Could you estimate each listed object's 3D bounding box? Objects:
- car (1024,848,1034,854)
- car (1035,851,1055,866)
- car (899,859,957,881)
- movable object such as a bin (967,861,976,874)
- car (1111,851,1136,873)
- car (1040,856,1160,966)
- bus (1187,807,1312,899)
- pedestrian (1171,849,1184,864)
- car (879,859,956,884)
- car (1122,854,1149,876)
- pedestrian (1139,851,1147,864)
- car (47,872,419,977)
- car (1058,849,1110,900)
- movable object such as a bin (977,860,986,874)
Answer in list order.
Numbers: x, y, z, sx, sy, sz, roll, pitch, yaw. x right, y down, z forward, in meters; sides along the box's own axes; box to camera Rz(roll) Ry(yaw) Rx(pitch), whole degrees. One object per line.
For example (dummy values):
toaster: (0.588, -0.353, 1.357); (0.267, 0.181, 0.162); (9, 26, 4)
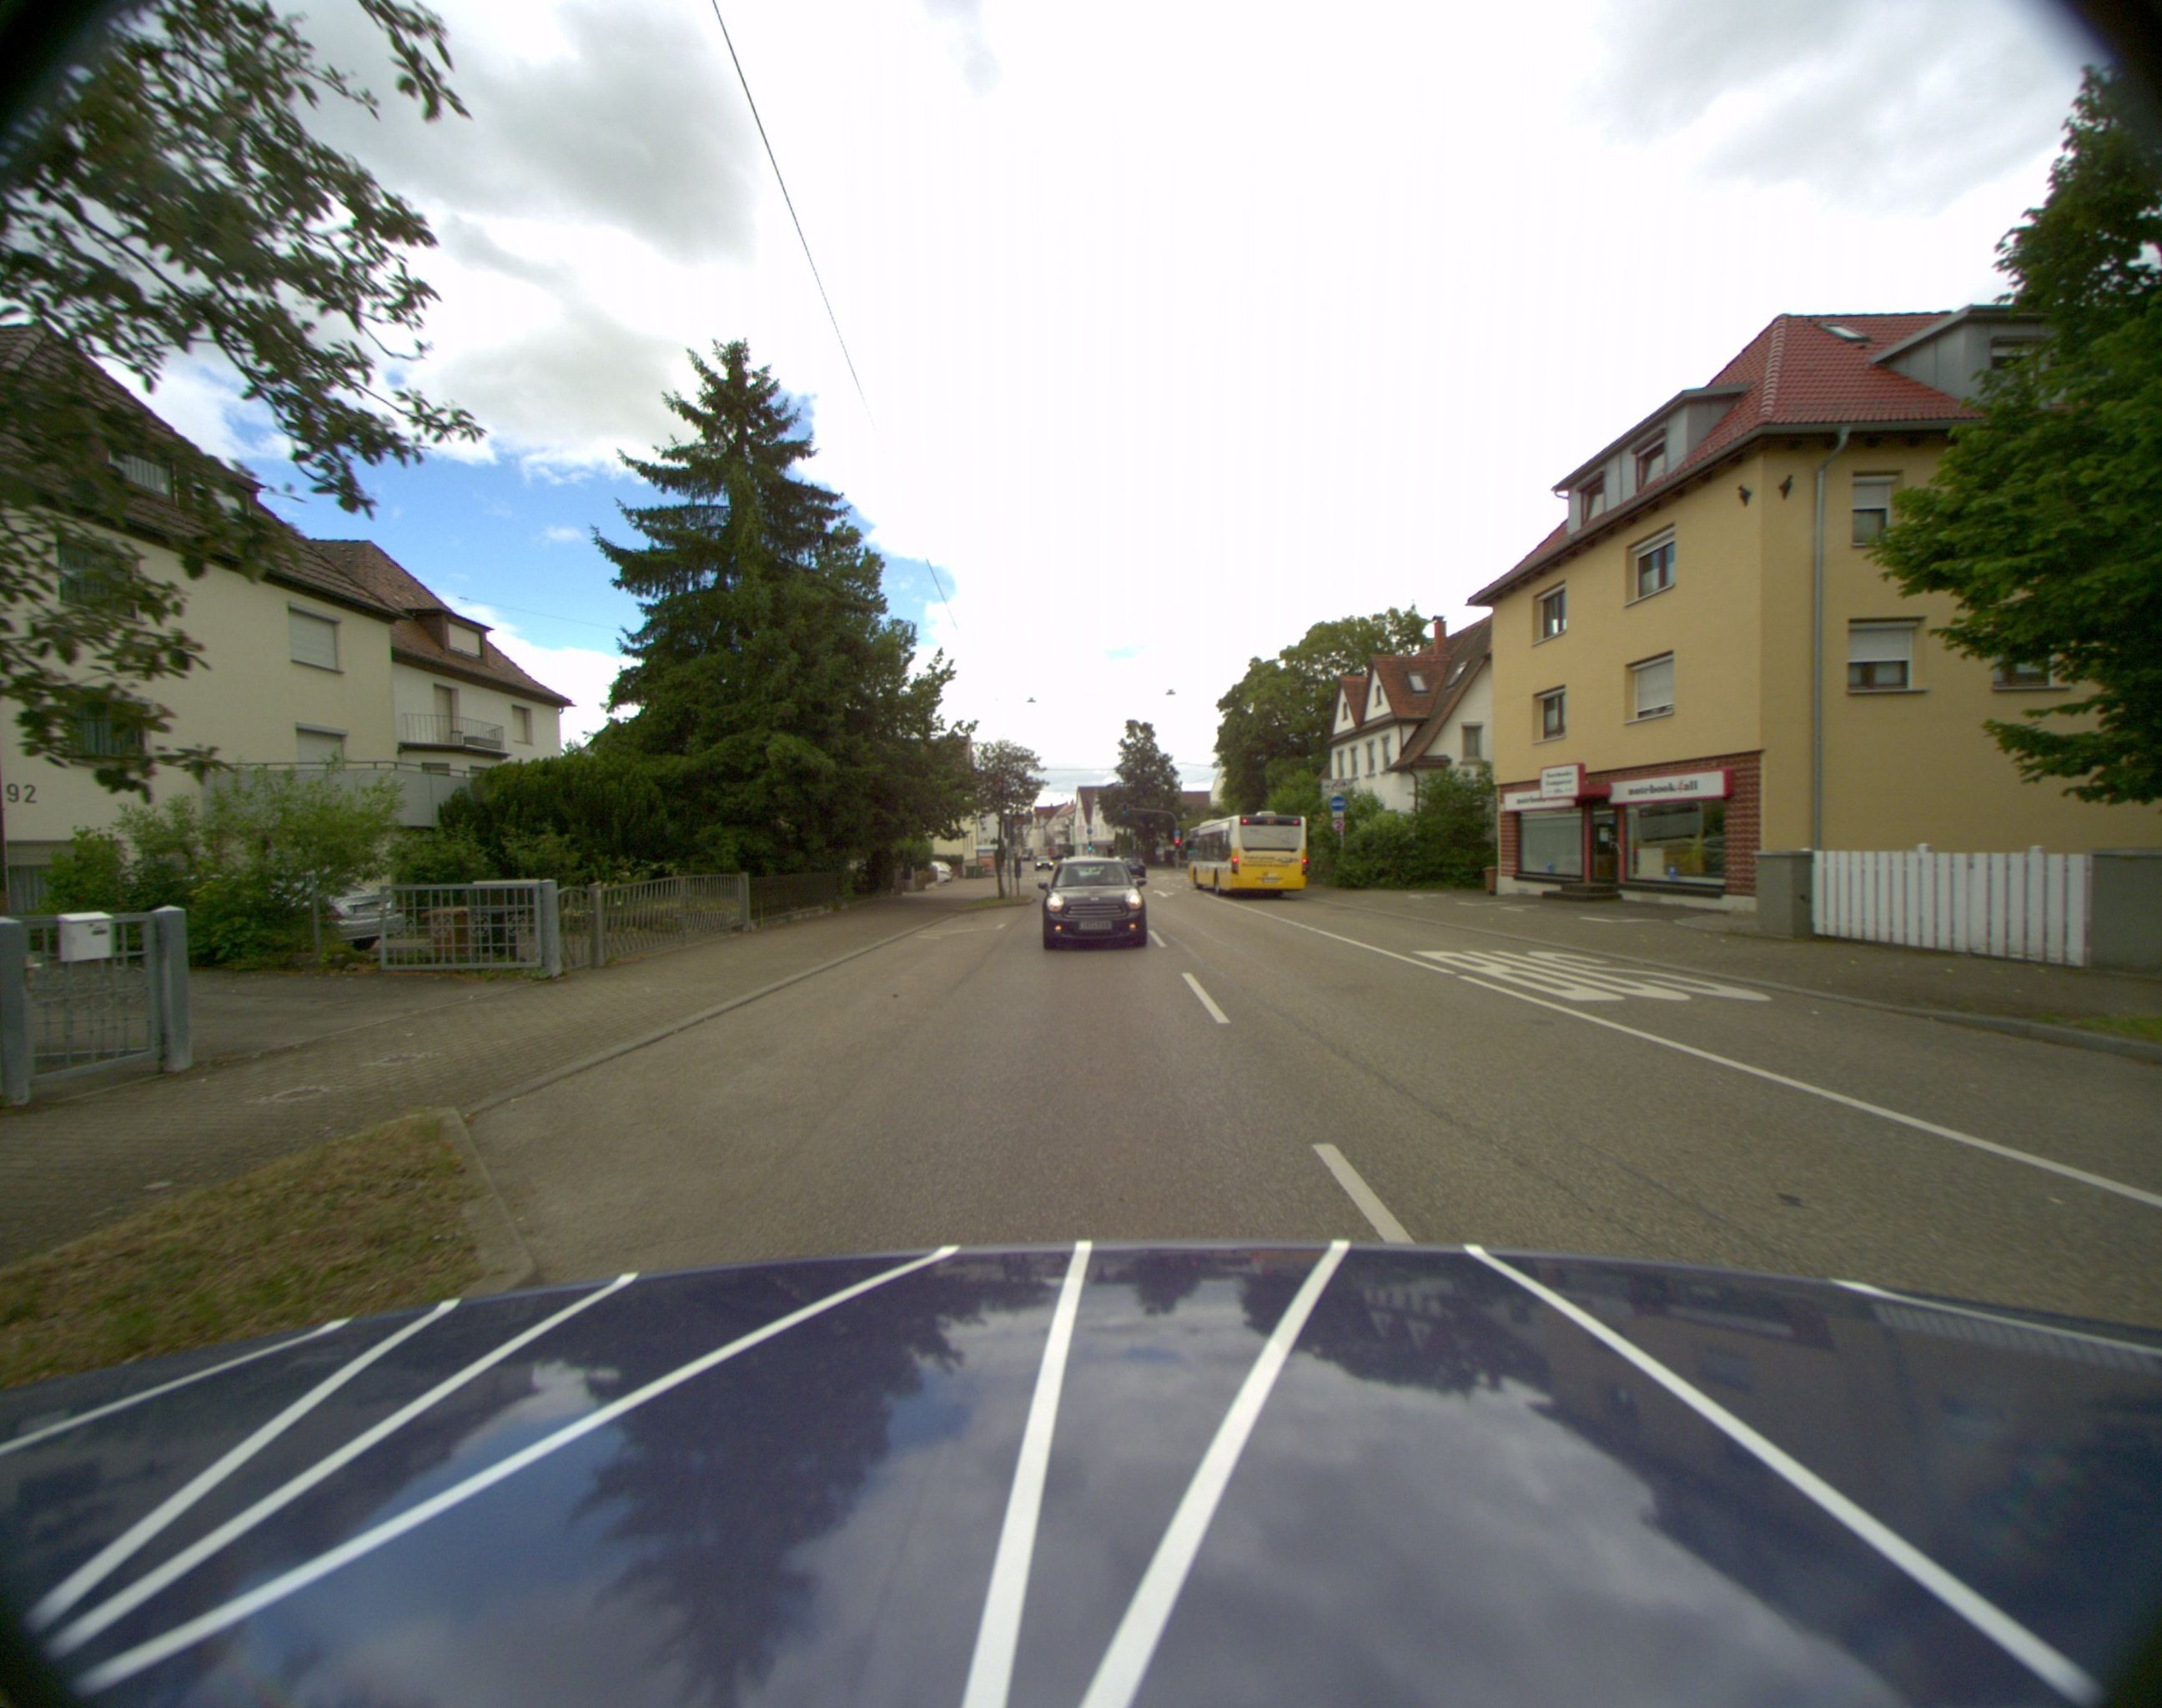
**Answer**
car: (-11.590, -0.637, 169.912); (1.635, 1.404, 3.994); (-1, 1, -14)
car: (-4.208, 0.527, 88.911); (1.847, 1.510, 3.996); (-4, 2, -8)
car: (-10.659, 1.104, 53.247); (3.814, 1.394, 1.639); (0, 2, -5)
movable object such as a bin: (-8.676, 1.064, 60.361); (0.638, 1.040, 0.585); (-2, 2, -8)
car: (3.474, 0.608, 63.287); (1.763, 1.626, 4.593); (0, 2, -1)
car: (0.218, 0.842, 13.154); (1.694, 1.507, 3.999); (-3, 1, -2)
bus: (6.496, -0.086, 31.500); (2.638, 3.068, 12.068); (-1, 1, 1)
pedestrian: (11.586, 0.348, 91.529); (0.825, 1.744, 1.226); (-5, 3, -43)
car: (-10.267, 1.079, 47.949); (4.431, 1.480, 1.864); (0, 2, -1)
car: (3.941, 0.798, 55.888); (1.568, 1.412, 4.128); (-2, 2, -1)
pedestrian: (7.887, 0.404, 96.623); (0.642, 1.596, 0.865); (-4, 2, -21)
car: (-13.375, 1.073, 12.180); (3.997, 1.385, 1.645); (-2, 1, -1)
car: (0.040, 0.722, 29.804); (1.811, 1.556, 4.614); (-3, 3, -2)
movable object such as a bin: (-7.914, 1.024, 60.459); (0.638, 1.041, 0.585); (-4, 2, -8)
